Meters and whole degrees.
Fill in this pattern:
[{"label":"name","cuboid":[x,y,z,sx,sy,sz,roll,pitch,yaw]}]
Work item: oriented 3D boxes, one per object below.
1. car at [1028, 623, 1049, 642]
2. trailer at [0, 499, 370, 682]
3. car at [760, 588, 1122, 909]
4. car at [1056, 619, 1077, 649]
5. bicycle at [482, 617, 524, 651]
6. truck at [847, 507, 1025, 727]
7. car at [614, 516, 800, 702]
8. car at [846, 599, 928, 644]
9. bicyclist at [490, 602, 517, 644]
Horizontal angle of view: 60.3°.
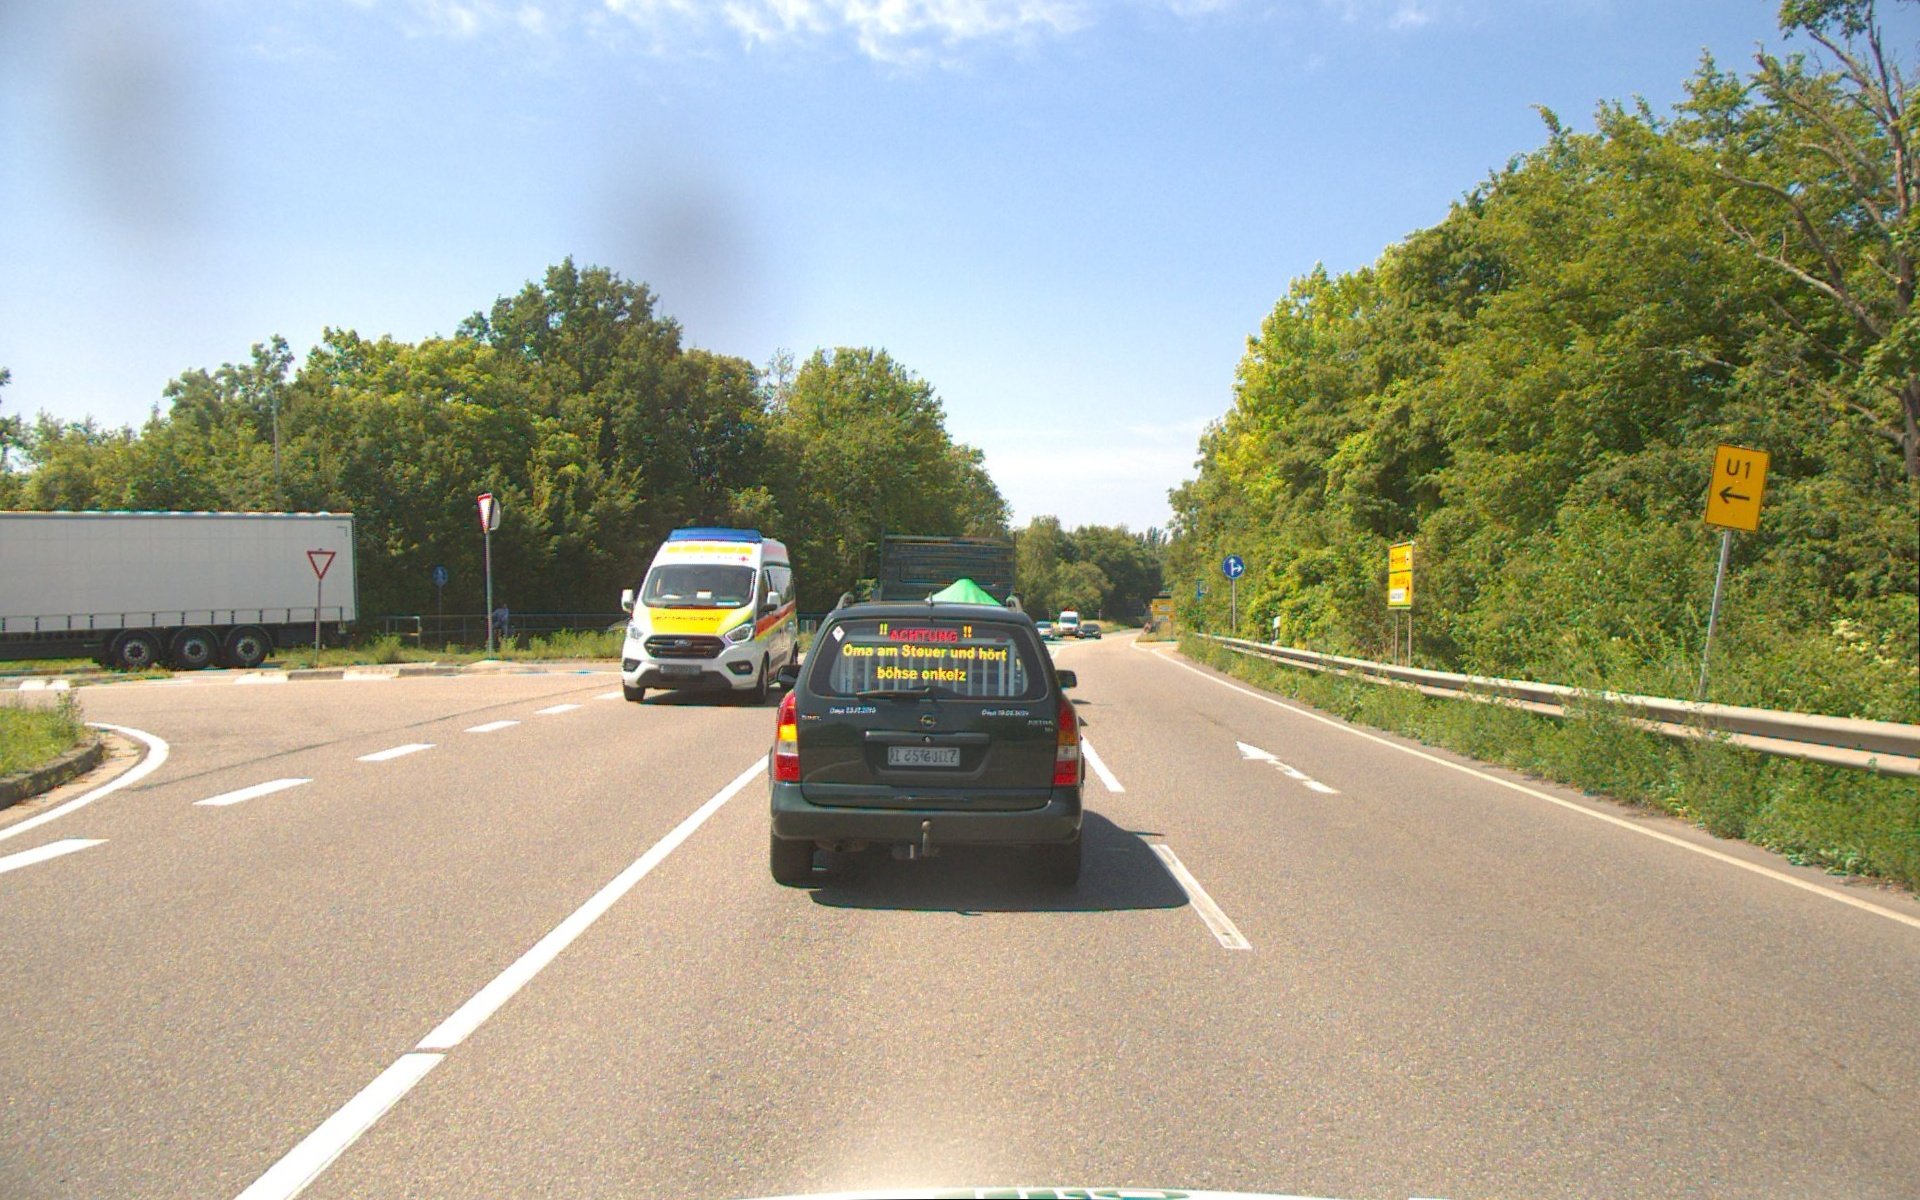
[{"label":"car","cuboid":[6.168,2.547,130.768,1.610,1.443,3.767,1,0,3]},{"label":"trailer","cuboid":[-22.296,-0.299,41.925,13.663,4.350,2.955,-2,2,-40]},{"label":"car","cuboid":[-0.078,0.692,9.704,1.685,1.482,3.797,1,0,0]},{"label":"car","cuboid":[10.734,3.409,166.505,2.061,2.900,6.014,1,0,4]},{"label":"bicycle","cuboid":[-15.502,1.159,56.114,0.427,1.133,1.477,-1,0,33]},{"label":"truck","cuboid":[-0.161,0.205,23.174,2.094,2.610,6.641,1,0,2]},{"label":"car","cuboid":[-3.566,0.105,24.310,1.950,2.409,5.181,1,0,-1]},{"label":"car","cuboid":[-3.248,0.933,75.227,1.968,1.957,5.196,1,0,19]},{"label":"bicyclist","cuboid":[-15.492,0.770,56.121,0.675,1.387,0.607,1,0,34]}]
